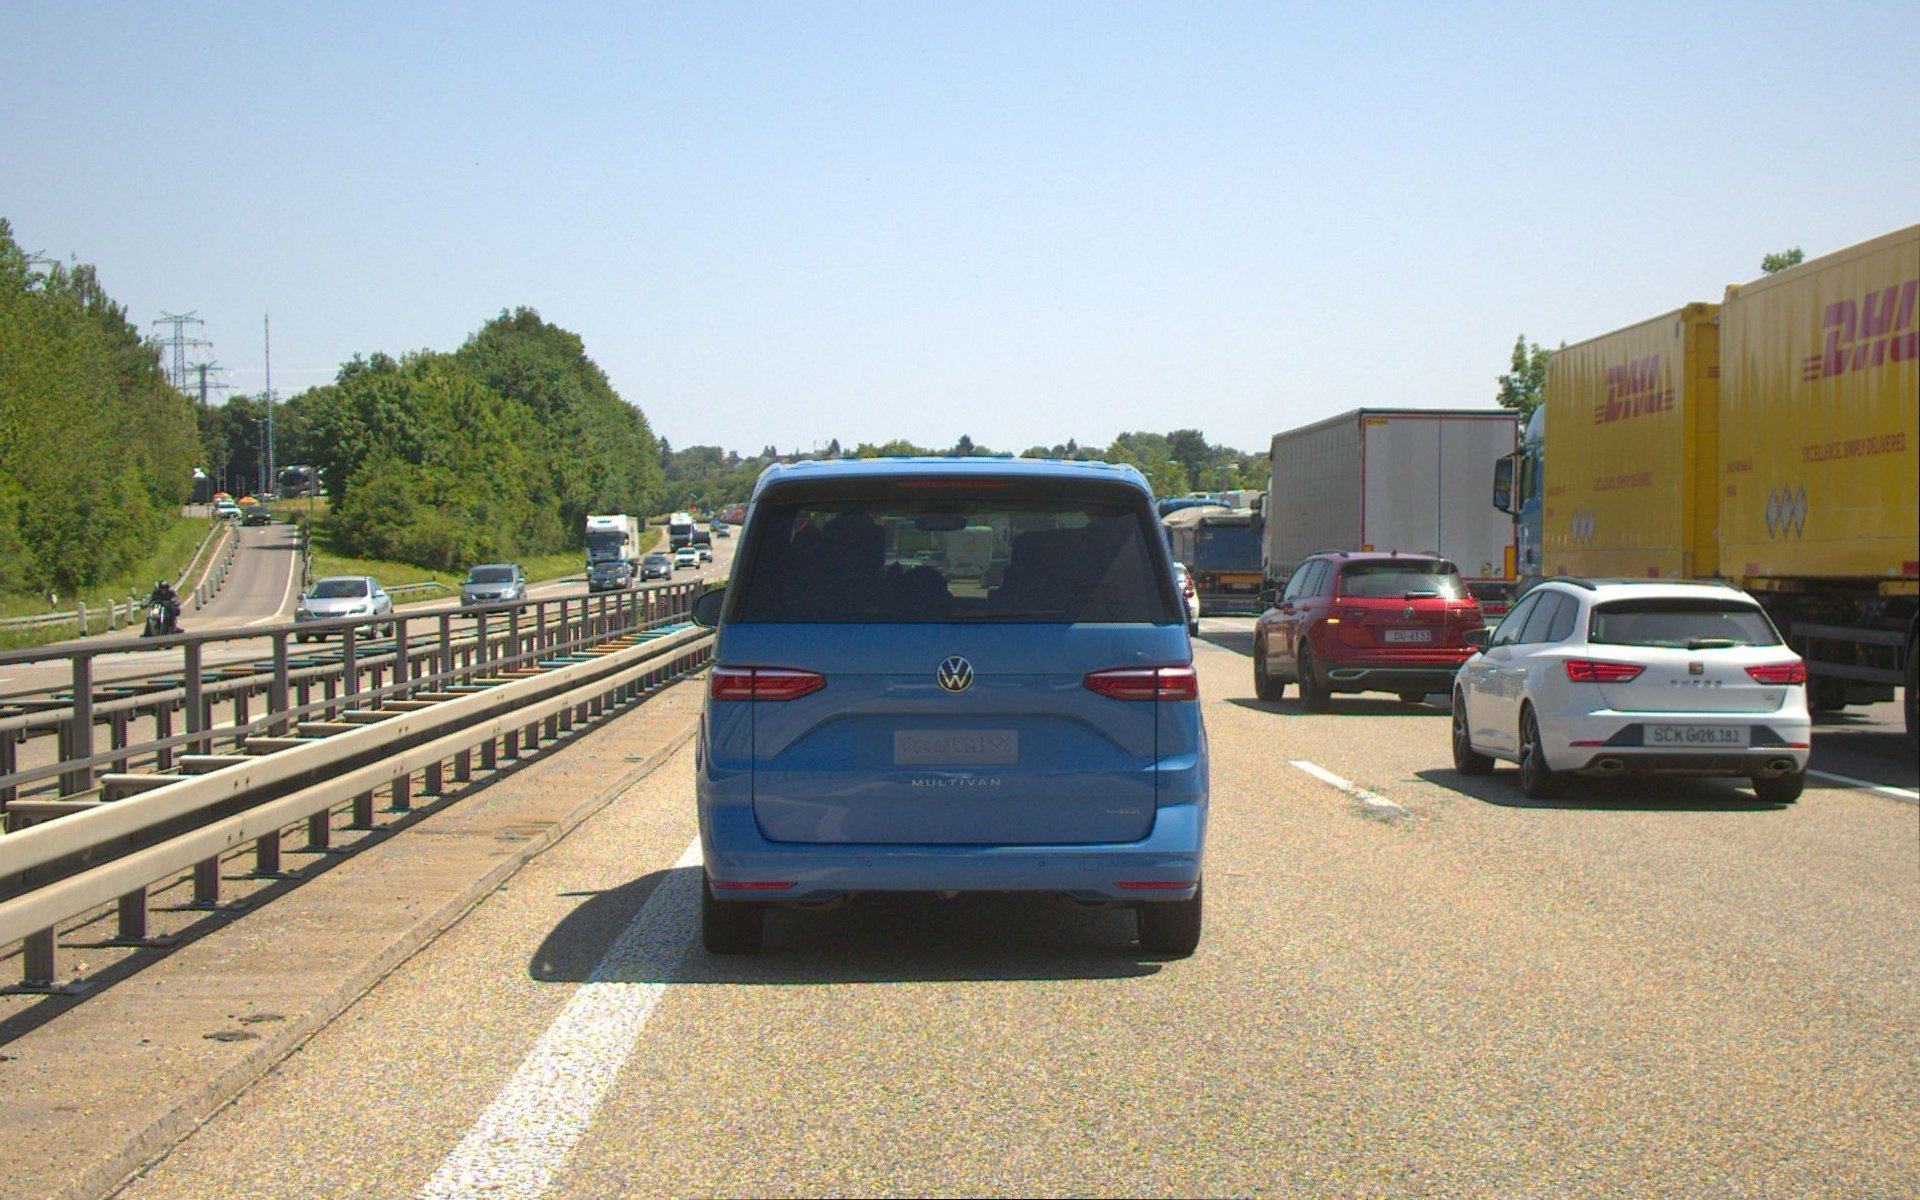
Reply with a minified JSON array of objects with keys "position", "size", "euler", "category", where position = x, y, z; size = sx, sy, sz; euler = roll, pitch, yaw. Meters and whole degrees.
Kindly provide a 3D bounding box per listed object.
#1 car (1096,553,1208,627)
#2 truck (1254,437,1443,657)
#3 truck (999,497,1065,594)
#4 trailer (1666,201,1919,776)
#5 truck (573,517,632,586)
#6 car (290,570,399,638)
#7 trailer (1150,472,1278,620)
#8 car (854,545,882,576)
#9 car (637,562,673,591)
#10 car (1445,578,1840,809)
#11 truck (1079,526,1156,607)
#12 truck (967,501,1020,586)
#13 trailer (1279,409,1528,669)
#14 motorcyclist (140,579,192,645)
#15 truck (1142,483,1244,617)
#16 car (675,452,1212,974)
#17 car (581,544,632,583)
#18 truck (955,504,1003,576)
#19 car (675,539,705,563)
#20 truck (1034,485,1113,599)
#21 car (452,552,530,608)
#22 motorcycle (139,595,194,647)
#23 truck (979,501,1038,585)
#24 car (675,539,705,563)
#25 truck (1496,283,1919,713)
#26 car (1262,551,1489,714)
[{"position":[3.773,-0.213,68.095],"size":[1.838,1.409,4.000],"euler":[0,1,-2],"category":"car"},{"position":[7.565,-1.004,67.786],"size":[2.768,4.081,6.984],"euler":[1,0,-1],"category":"truck"},{"position":[3.826,-2.868,185.803],"size":[2.833,5.023,11.818],"euler":[1,0,-2],"category":"truck"},{"position":[8.052,-0.776,28.102],"size":[2.701,4.010,8.930],"euler":[1,0,0],"category":"trailer"},{"position":[-22.657,-3.074,218.096],"size":[2.989,4.264,7.189],"euler":[-1,1,-1],"category":"truck"},{"position":[-14.063,0.073,78.731],"size":[1.715,1.429,4.176],"euler":[-3,1,-1],"category":"car"},{"position":[6.784,-1.397,93.240],"size":[2.379,3.731,11.189],"euler":[1,0,-1],"category":"trailer"},{"position":[-5.857,-2.496,219.452],"size":[1.739,1.904,3.681],"euler":[1,0,-1],"category":"car"},{"position":[-17.869,-1.377,201.624],"size":[1.829,1.604,4.169],"euler":[-1,1,-1],"category":"car"},{"position":[4.453,0.559,23.039],"size":[1.781,1.382,4.188],"euler":[0,1,-1],"category":"car"},{"position":[6.407,-1.345,141.139],"size":[2.355,3.207,9.741],"euler":[1,0,-2],"category":"truck"},{"position":[2.159,-3.615,225.423],"size":[2.833,5.354,12.556],"euler":[1,0,-2],"category":"truck"},{"position":[7.628,-0.997,60.741],"size":[2.755,4.132,11.312],"euler":[1,0,-1],"category":"trailer"},{"position":[-17.821,0.262,77.199],"size":[0.898,1.436,1.082],"euler":[-1,2,-1],"category":"motorcyclist"},{"position":[6.678,-1.416,99.240],"size":[2.367,3.709,6.033],"euler":[1,0,-1],"category":"truck"},{"position":[-0.075,0.375,14.063],"size":[1.882,1.831,4.000],"euler":[0,1,0],"category":"car"},{"position":[-15.728,-1.622,153.013],"size":[1.829,1.604,4.169],"euler":[-3,1,-1],"category":"car"},{"position":[1.335,-4.269,249.169],"size":[2.833,5.023,12.914],"euler":[1,0,-2],"category":"truck"},{"position":[-20.305,-3.681,258.981],"size":[1.922,1.683,4.122],"euler":[-3,1,-1],"category":"car"},{"position":[5.160,-2.584,158.431],"size":[2.833,5.023,11.147],"euler":[1,0,-2],"category":"truck"},{"position":[-14.573,-0.628,107.051],"size":[1.829,1.604,4.169],"euler":[-4,1,-1],"category":"car"},{"position":[-17.808,0.455,77.170],"size":[0.702,1.067,2.306],"euler":[-1,2,-1],"category":"motorcycle"},{"position":[2.877,-3.344,207.415],"size":[2.833,4.869,13.221],"euler":[1,0,-2],"category":"truck"},{"position":[-20.292,-3.691,258.836],"size":[1.922,1.683,4.122],"euler":[-3,1,-1],"category":"car"},{"position":[8.075,-0.974,37.753],"size":[2.722,4.041,10.336],"euler":[1,0,0],"category":"truck"},{"position":[4.279,0.298,35.918],"size":[1.851,1.603,4.000],"euler":[0,1,0],"category":"car"}]
